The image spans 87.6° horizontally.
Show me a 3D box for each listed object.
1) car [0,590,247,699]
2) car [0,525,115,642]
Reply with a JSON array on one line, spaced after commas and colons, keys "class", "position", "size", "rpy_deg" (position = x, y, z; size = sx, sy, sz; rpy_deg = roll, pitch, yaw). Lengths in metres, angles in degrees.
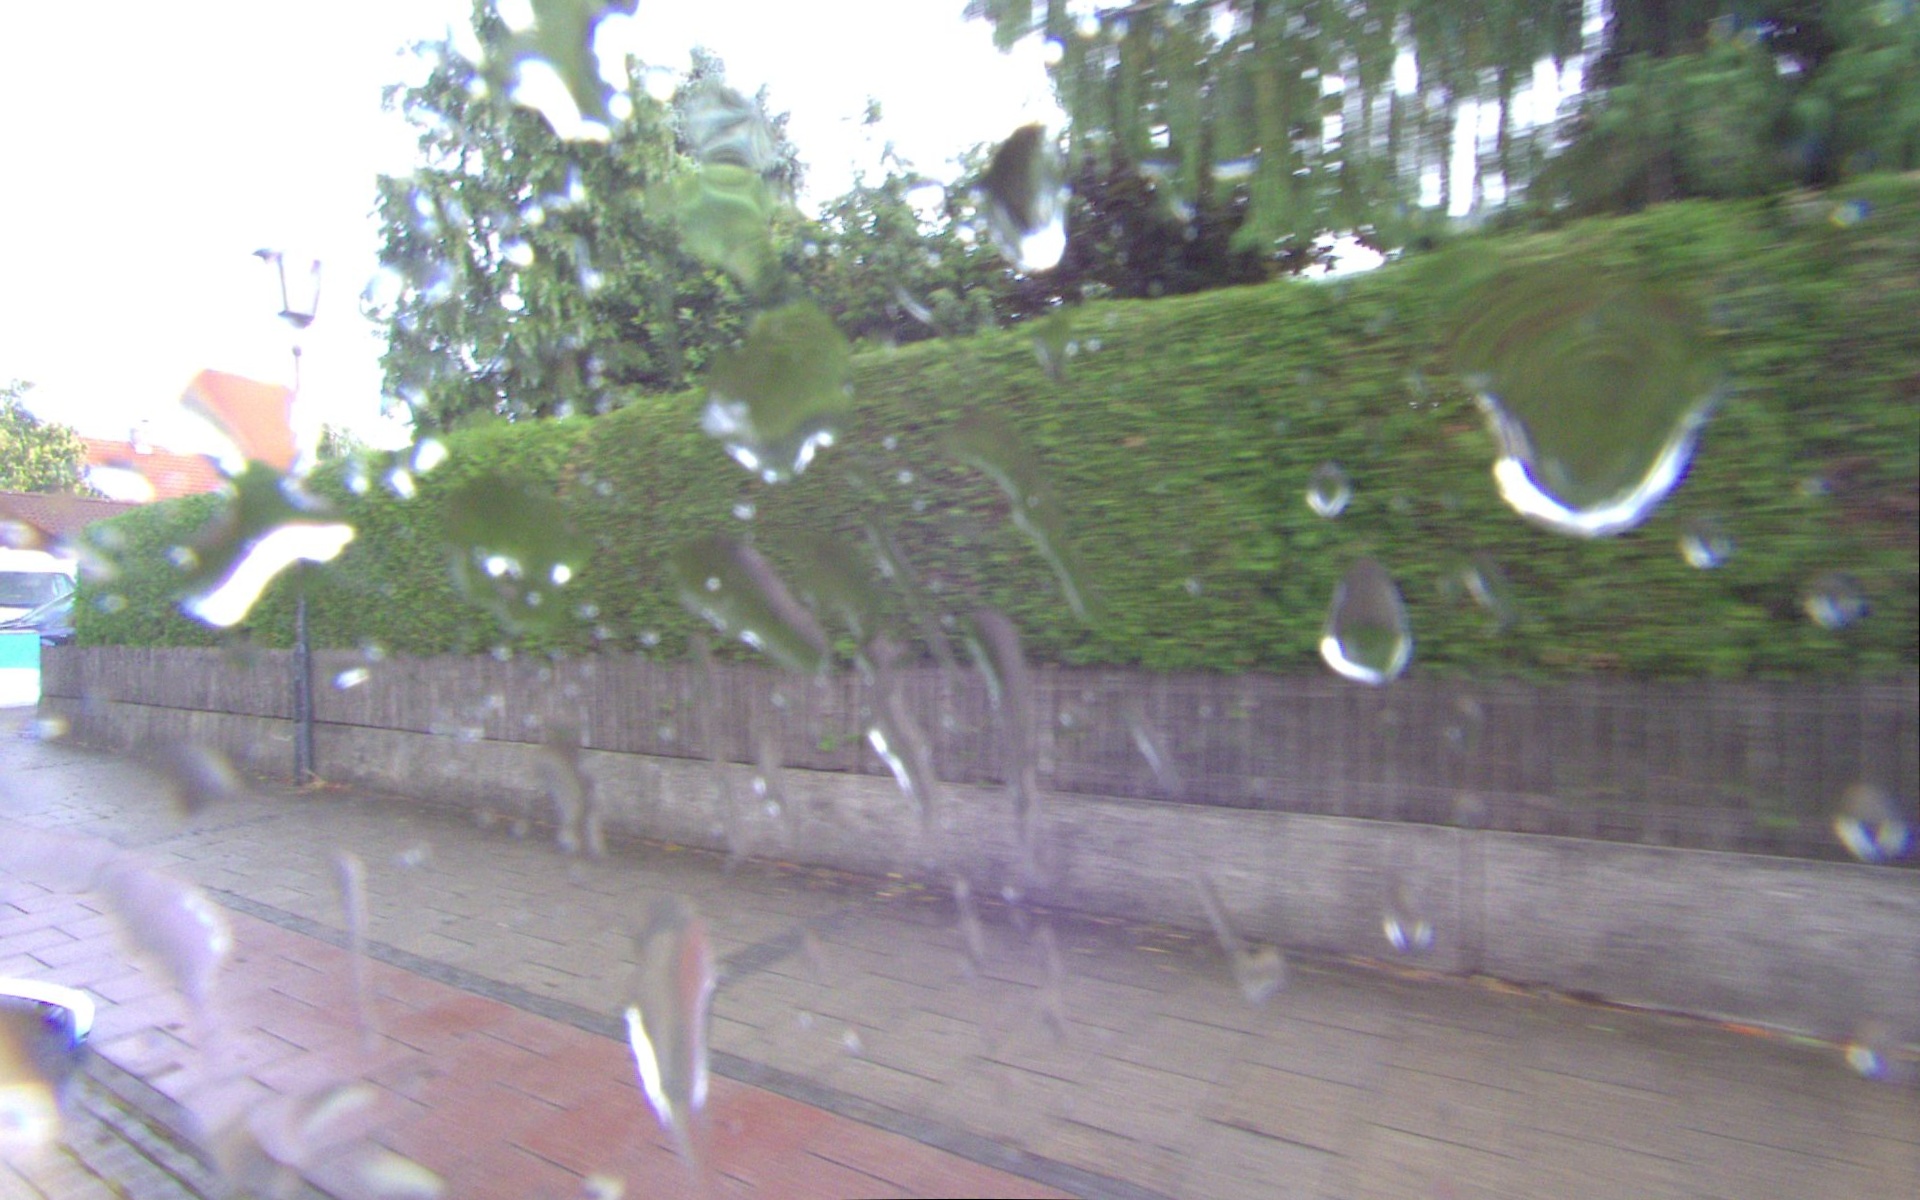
[{"class": "car", "position": [-15.826, 0.728, 18.441], "size": [1.668, 1.775, 4.088], "rpy_deg": [2, 1, 30]}, {"class": "car", "position": [-20.207, -0.245, 20.730], "size": [4.867, 2.201, 1.997], "rpy_deg": [-1, -2, 20]}]
